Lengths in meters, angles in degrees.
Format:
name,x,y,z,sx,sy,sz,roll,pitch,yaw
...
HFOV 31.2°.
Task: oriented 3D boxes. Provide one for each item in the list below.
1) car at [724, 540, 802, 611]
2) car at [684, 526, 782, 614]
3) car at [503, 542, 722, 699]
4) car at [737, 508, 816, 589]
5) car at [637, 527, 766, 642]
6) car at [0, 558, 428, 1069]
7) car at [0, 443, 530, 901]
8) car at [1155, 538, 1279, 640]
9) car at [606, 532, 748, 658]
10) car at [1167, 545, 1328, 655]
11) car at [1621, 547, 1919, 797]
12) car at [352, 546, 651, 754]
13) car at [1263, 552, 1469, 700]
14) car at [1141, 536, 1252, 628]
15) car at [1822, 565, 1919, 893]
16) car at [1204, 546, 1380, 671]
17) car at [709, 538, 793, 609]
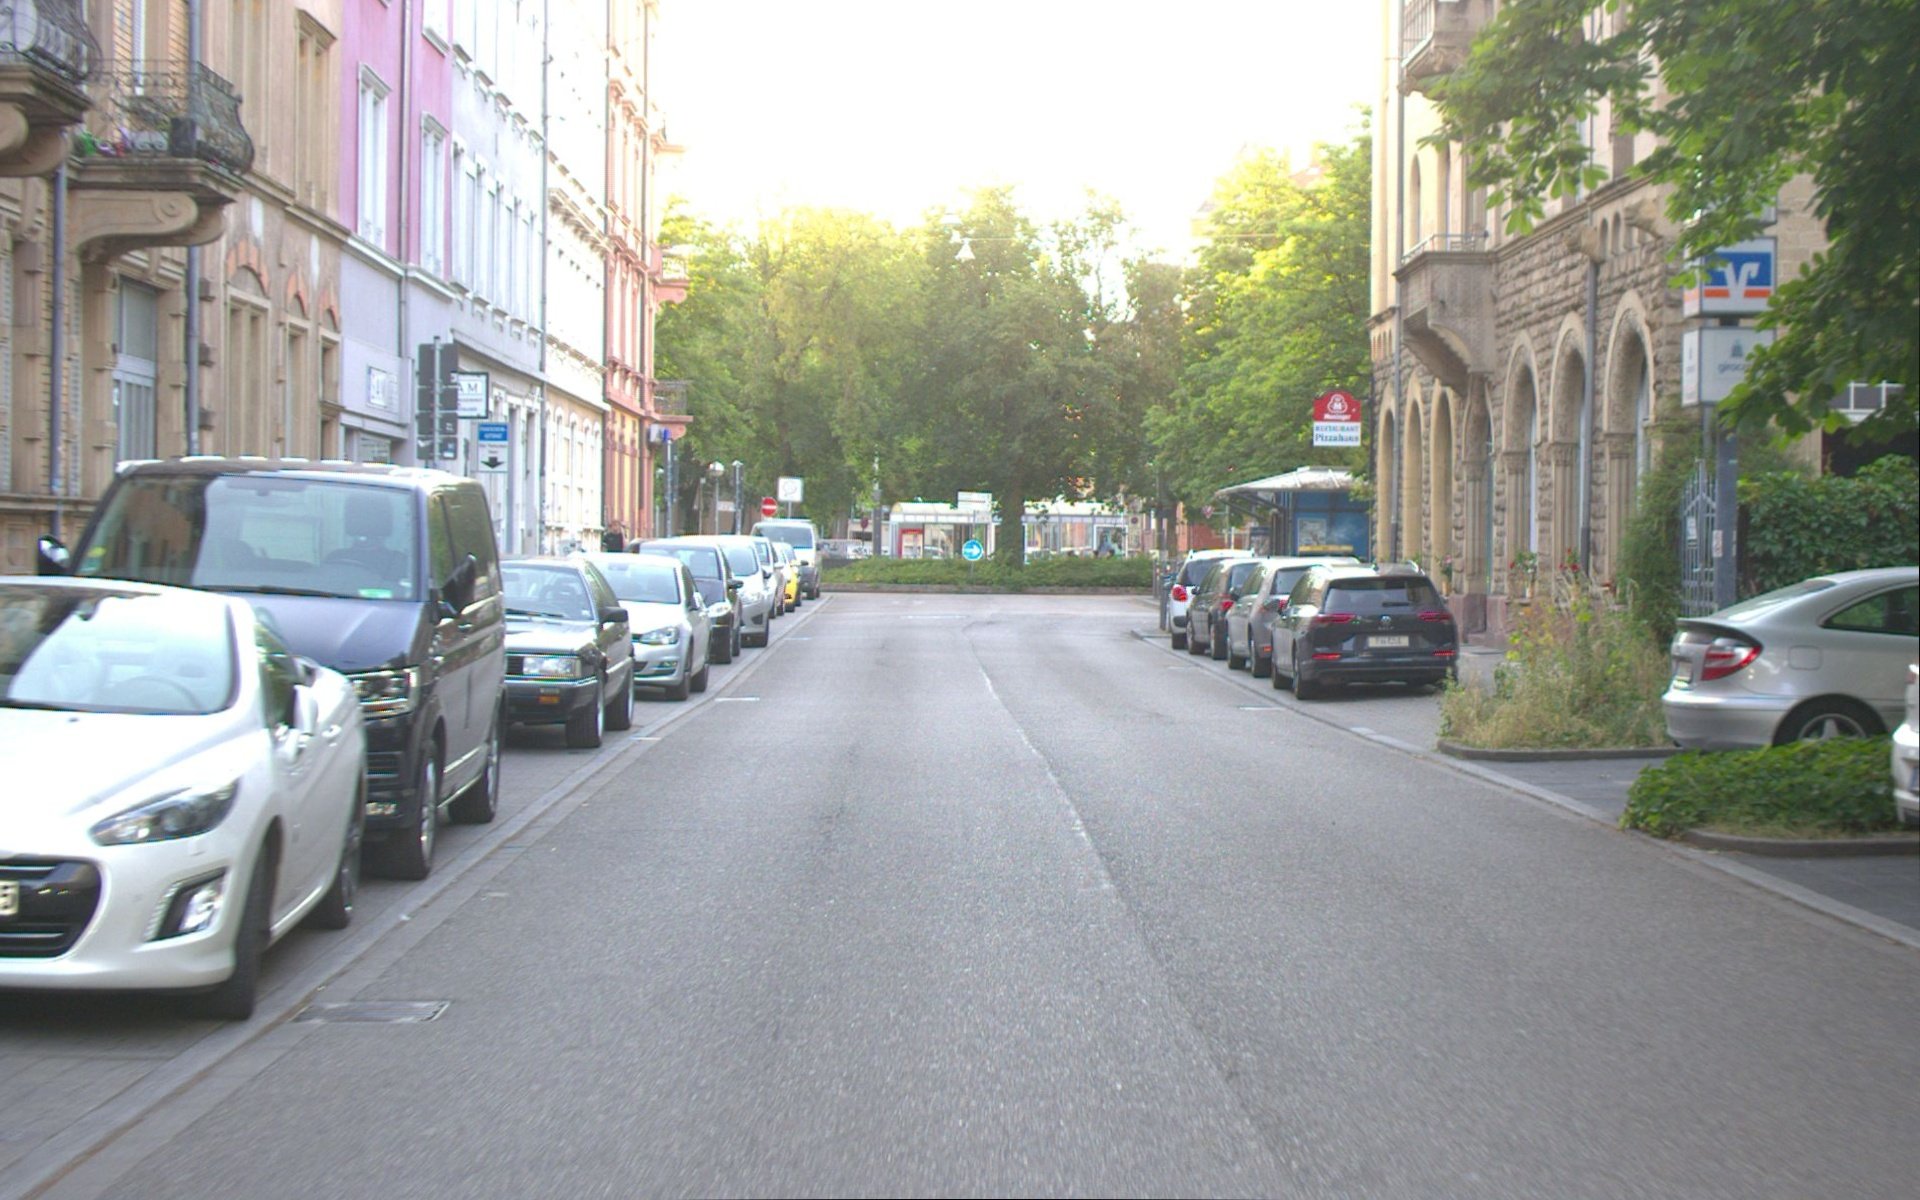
name,x,y,z,sx,sy,sz,roll,pitch,yaw
car,-4.594,-0.589,80.114,1.698,1.547,4.022,2,1,-3
car,-4.454,-0.607,67.924,1.698,1.615,4.022,2,1,-1
car,-3.585,0.173,36.111,1.834,1.453,4.207,3,1,-1
car,-4.727,-1.321,88.252,1.810,1.970,4.187,2,1,-5
car,-3.871,-0.249,51.809,1.844,1.653,4.253,0,1,-4
car,-3.110,0.612,12.475,1.783,1.418,4.486,3,1,-3
car,-3.404,0.272,17.503,1.993,1.917,4.952,3,1,-3
car,4.052,-0.199,54.675,1.676,1.496,3.901,-2,1,1
car,-3.721,-0.097,45.632,1.636,1.560,3.782,2,1,-2
car,4.110,-0.032,49.652,1.676,1.451,3.801,-2,1,-4
car,6.450,0.393,21.962,4.086,1.447,1.882,-2,1,2
car,-3.479,0.342,26.861,1.736,1.413,4.779,2,0,-1
car,4.429,0.237,38.044,1.676,1.424,4.478,-3,1,0
car,4.128,-0.348,60.545,1.676,1.496,4.018,-2,1,1
car,6.148,0.517,15.885,3.793,1.447,1.736,-2,1,-5
car,4.208,0.074,44.085,1.676,1.451,4.230,-2,1,-2
car,-4.495,-0.586,74.181,1.698,1.421,4.022,2,1,-3
